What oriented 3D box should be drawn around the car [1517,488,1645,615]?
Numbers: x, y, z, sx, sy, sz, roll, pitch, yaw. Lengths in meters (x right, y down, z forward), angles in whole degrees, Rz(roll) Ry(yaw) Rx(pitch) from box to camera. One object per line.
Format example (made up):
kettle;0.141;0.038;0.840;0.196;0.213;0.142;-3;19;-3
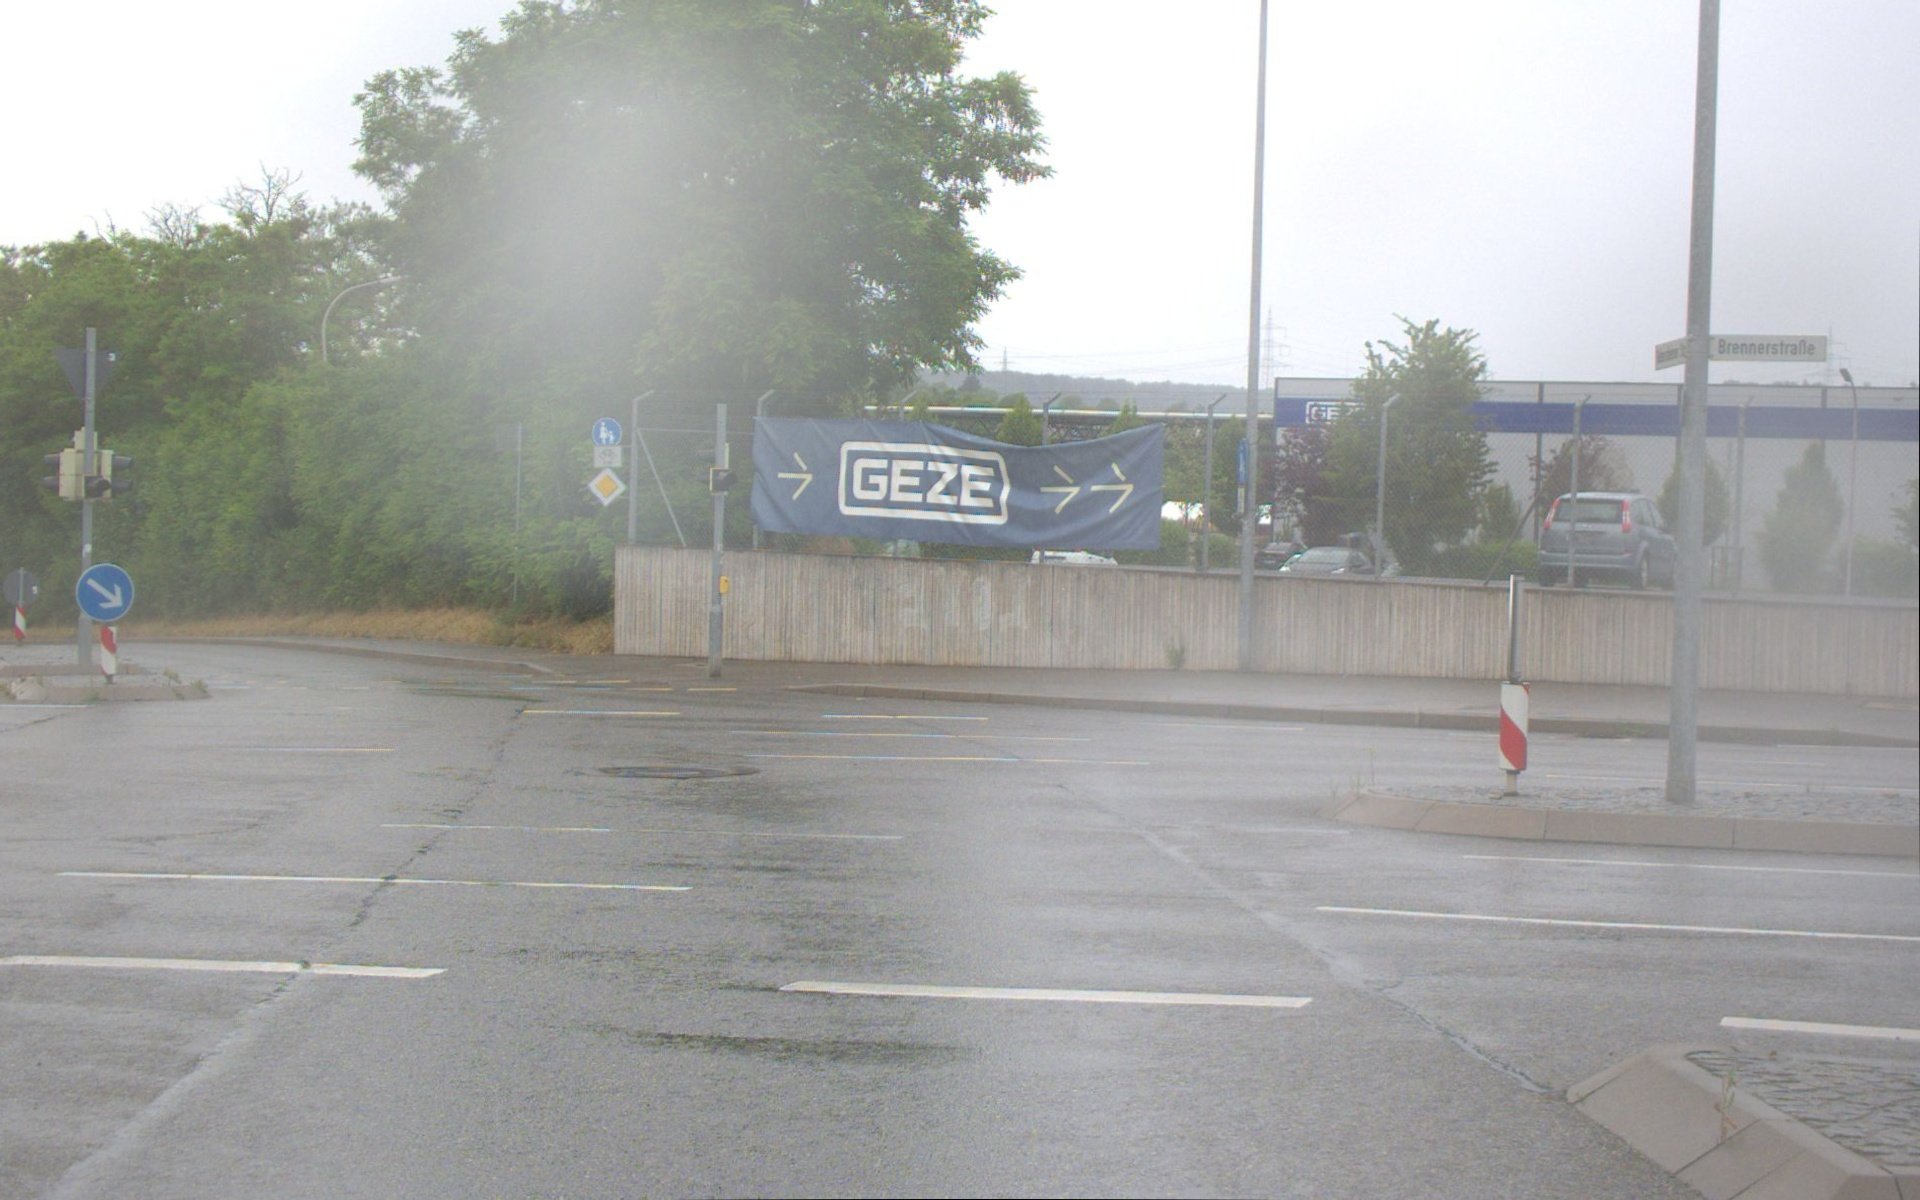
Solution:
car;10.451;-0.818;57.684;1.994;2.007;3.998;2;1;11
